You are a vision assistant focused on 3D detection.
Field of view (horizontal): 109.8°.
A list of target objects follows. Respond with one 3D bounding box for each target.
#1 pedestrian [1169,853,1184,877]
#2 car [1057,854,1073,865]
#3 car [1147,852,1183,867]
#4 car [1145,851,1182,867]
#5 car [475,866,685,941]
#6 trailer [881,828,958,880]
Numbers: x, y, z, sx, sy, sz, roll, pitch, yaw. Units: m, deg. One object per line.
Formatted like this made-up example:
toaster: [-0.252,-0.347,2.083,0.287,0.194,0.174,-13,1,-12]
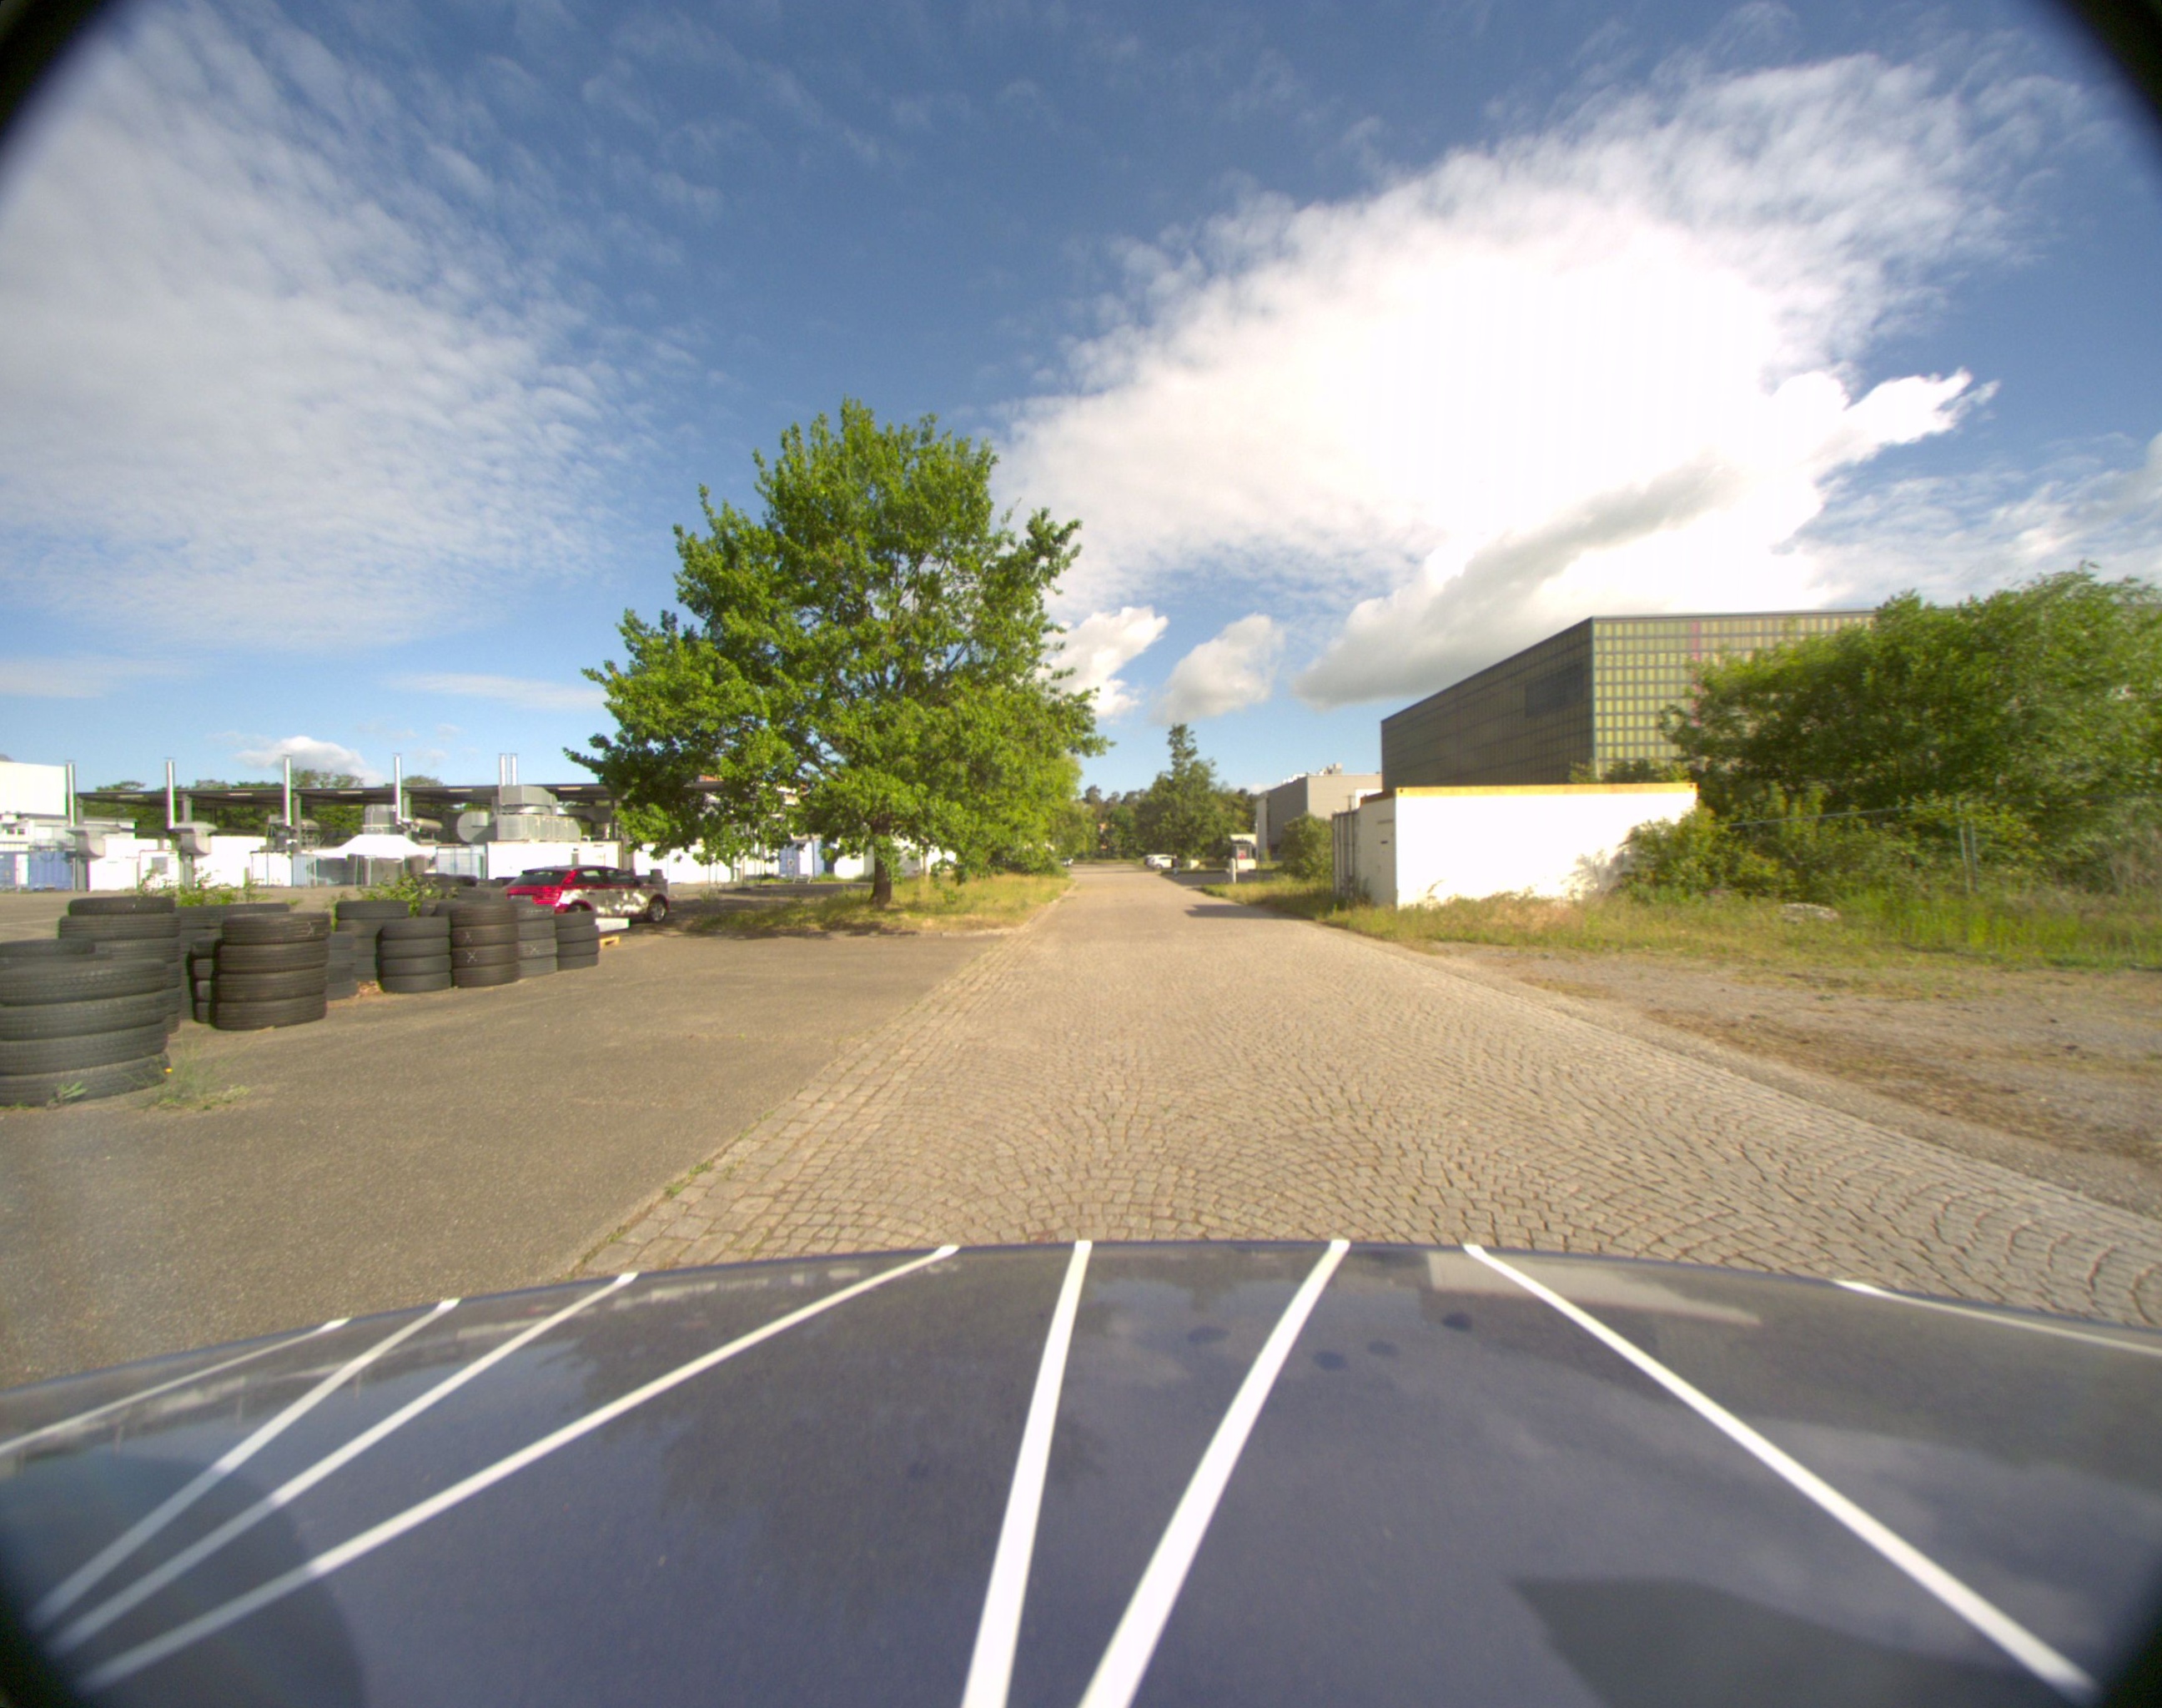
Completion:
pedestrian: [6.316,0.705,50.101,0.866,1.550,1.029,-1,0,13]
car: [-2.250,0.760,107.064,1.999,1.363,3.998,-1,0,-4]
car: [9.469,0.604,85.287,3.995,1.633,2.001,-1,0,7]
car: [8.963,0.551,82.572,3.995,1.633,2.001,-1,0,7]
car: [-11.245,1.043,17.440,1.725,1.455,4.003,-1,0,9]
trailer: [-11.554,-0.016,55.496,2.923,3.451,9.903,-1,0,4]
